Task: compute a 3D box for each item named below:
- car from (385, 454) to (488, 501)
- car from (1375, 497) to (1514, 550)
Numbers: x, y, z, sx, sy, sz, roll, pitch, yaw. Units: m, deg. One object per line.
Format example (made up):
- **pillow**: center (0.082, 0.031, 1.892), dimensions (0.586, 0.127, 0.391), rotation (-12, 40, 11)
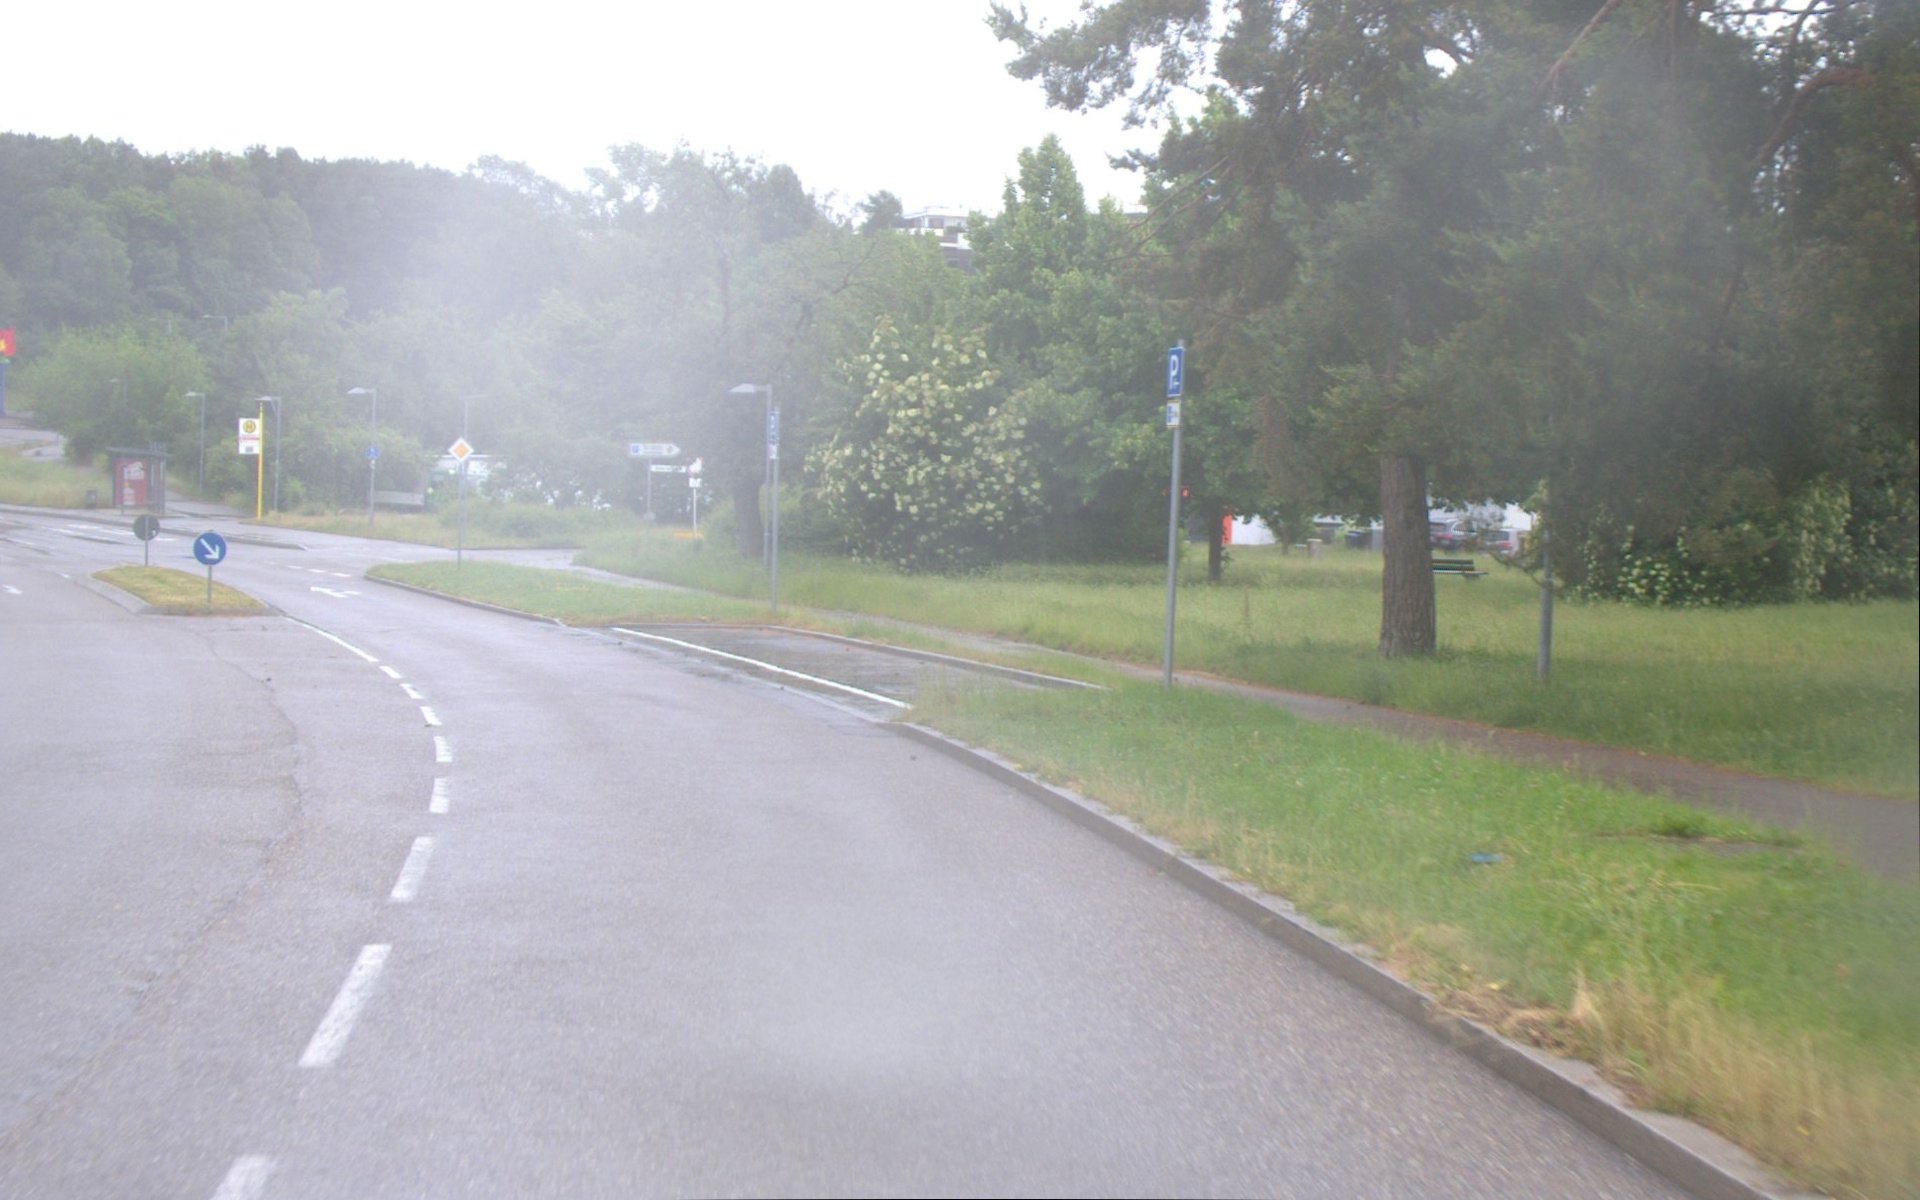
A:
- **car**: center (-20.526, -4.800, 134.802), dimensions (3.417, 1.684, 1.997), rotation (0, -2, 26)
- **car**: center (17.314, -2.734, 122.971), dimensions (4.553, 1.744, 1.908), rotation (-1, 1, 39)
